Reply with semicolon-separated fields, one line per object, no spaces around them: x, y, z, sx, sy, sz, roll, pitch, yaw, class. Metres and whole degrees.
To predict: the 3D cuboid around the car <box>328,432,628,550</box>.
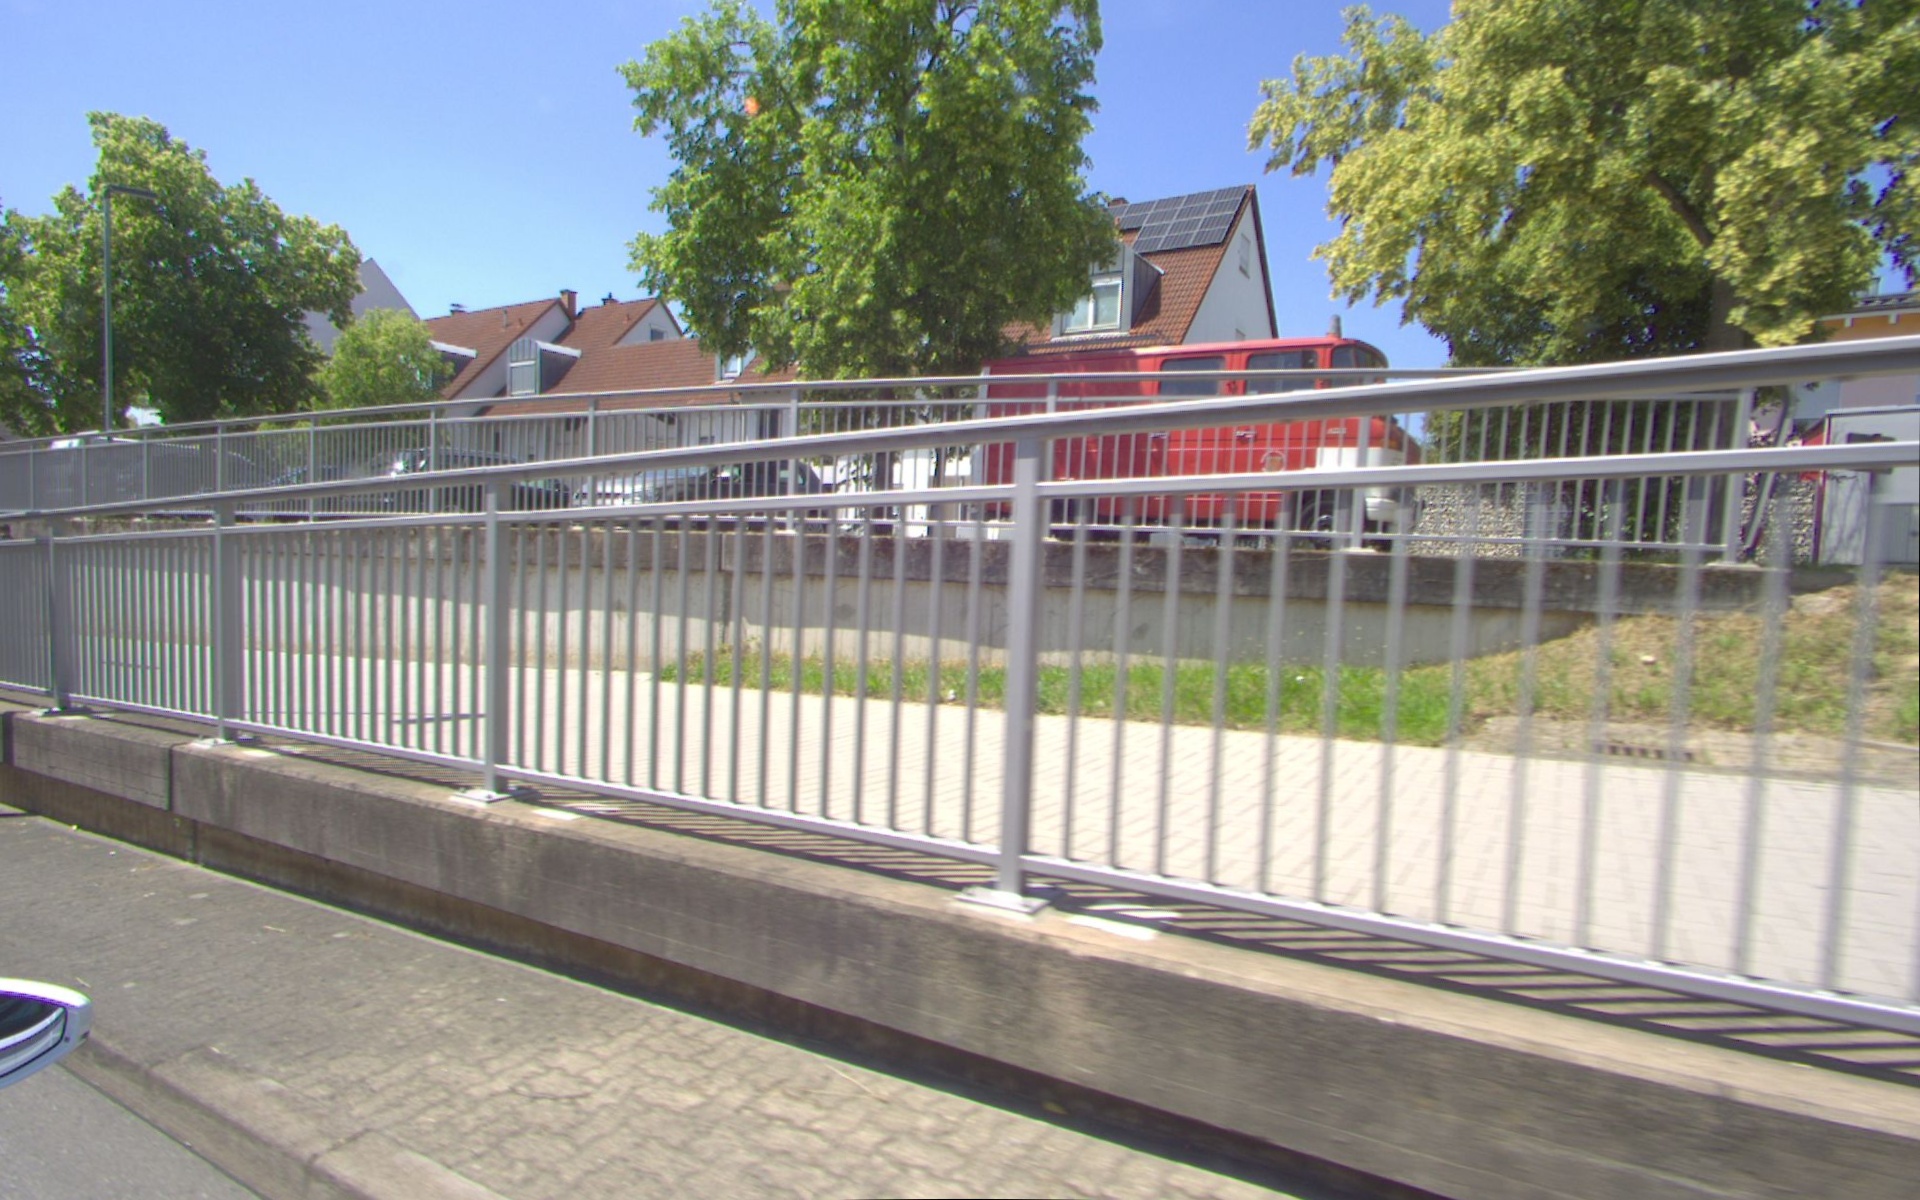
-7.713;-1.673;16.422;1.662;1.519;4.194;4;2;33;car

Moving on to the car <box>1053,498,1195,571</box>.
3.783;-1.446;22.588;1.732;1.499;3.927;3;4;32;car

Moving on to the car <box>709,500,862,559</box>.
-4.771;-1.940;28.025;1.732;1.511;4.394;3;4;32;car

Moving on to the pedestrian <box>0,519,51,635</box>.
-15.133;-0.361;15.913;0.777;1.806;0.834;1;2;32;pedestrian

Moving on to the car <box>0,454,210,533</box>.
-21.752;-2.609;25.317;1.662;1.618;4.194;4;2;33;car

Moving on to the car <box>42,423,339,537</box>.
-17.554;-2.630;23.141;1.960;2.092;5.100;4;2;33;car

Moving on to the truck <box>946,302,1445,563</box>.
2.618;-1.729;11.679;5.181;2.366;2.128;3;2;32;truck

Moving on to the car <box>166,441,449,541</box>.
-12.417;-1.999;19.341;1.723;1.519;4.275;4;2;33;car

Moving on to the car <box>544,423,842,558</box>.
-3.633;-1.434;14.272;1.723;1.519;3.977;4;2;33;car

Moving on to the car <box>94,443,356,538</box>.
-15.497;-2.239;21.335;1.662;1.618;4.194;4;2;33;car

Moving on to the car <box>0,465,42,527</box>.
-31.894;-3.397;31.694;1.662;1.911;3.896;4;2;33;car
